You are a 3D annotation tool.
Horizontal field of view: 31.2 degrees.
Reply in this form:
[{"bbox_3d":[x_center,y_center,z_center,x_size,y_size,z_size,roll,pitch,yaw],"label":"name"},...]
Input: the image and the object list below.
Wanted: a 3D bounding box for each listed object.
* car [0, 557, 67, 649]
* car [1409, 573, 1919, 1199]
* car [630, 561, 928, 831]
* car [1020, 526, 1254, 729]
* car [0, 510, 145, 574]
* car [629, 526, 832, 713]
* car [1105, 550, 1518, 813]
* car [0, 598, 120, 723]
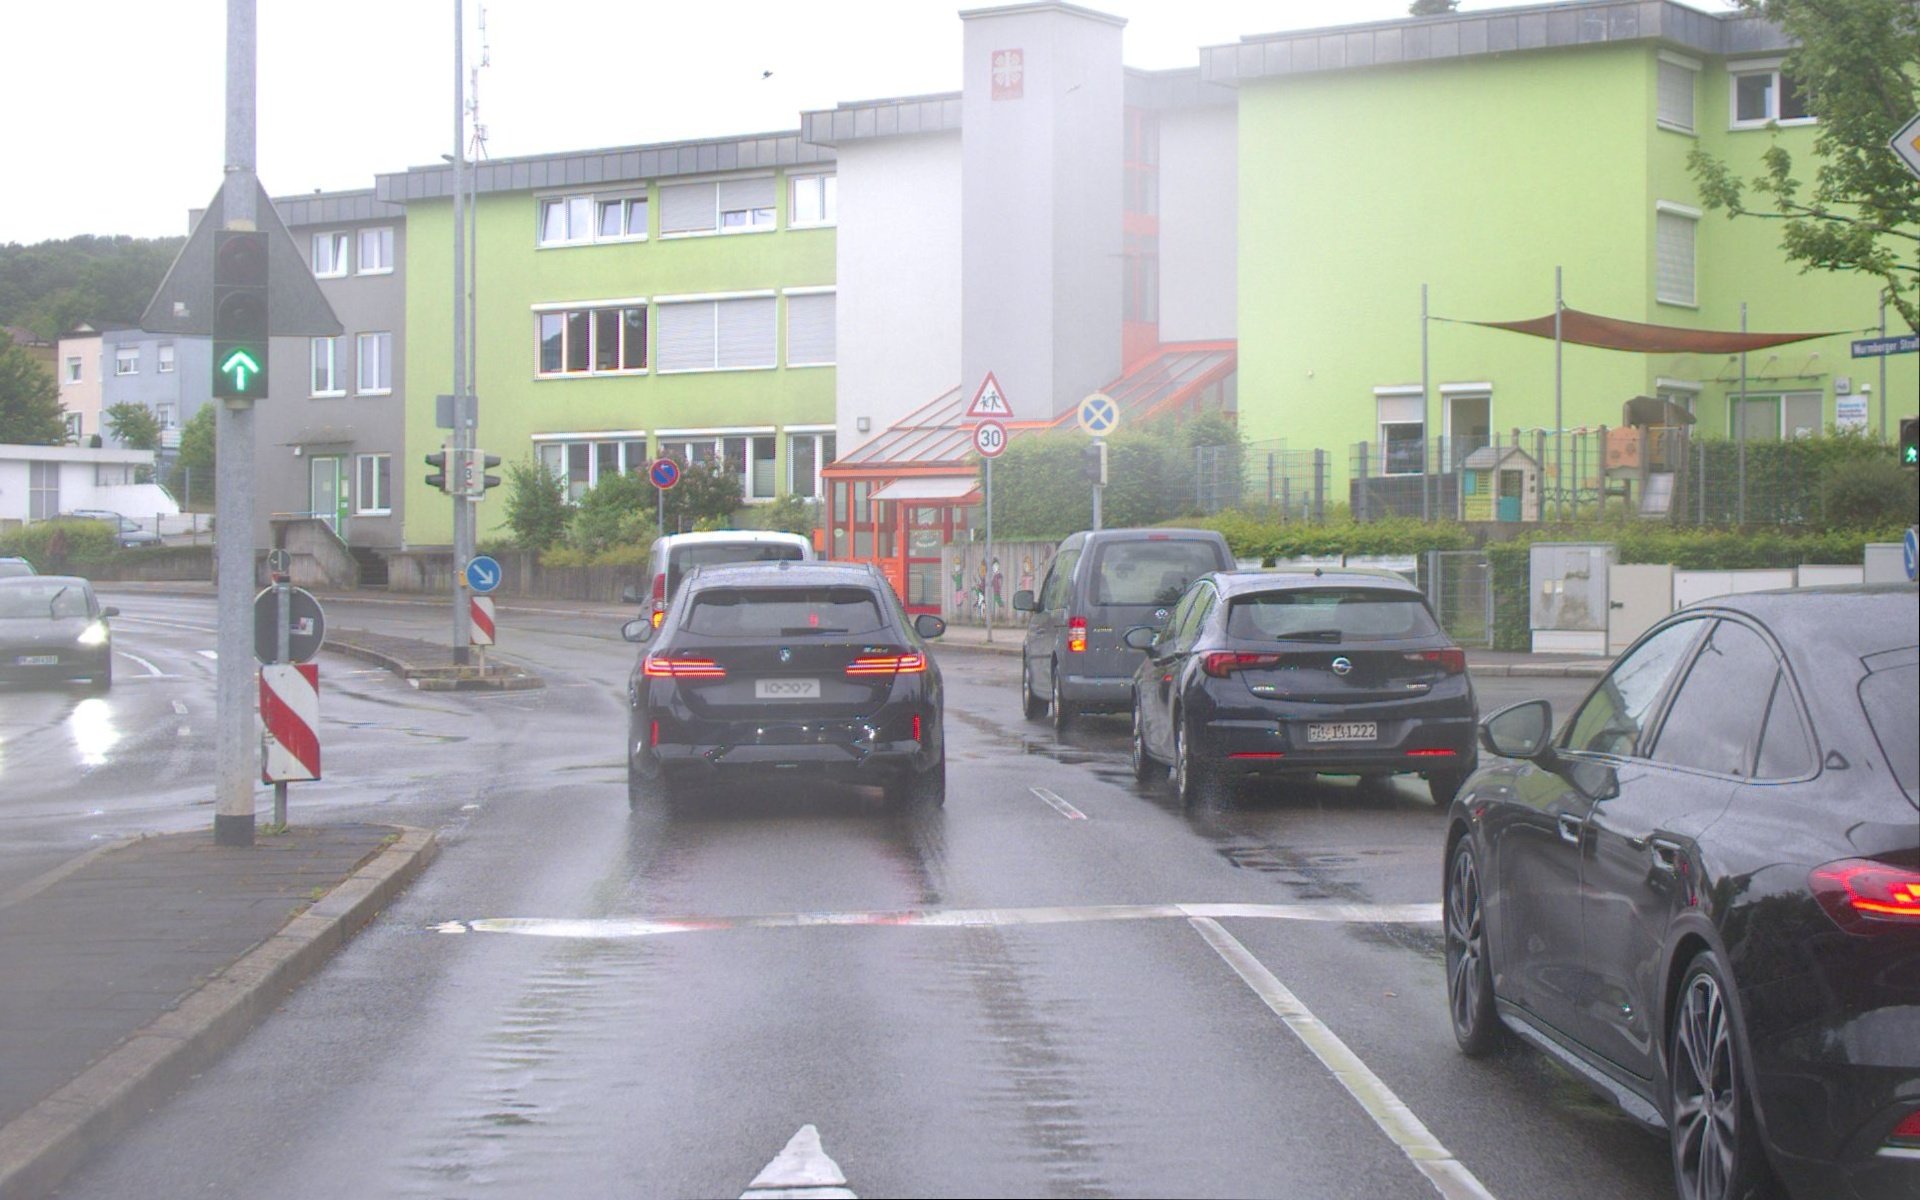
[{"bbox_3d":[-16.915,0.024,60.857,1.849,1.559,4.001,-1,1,-19],"label":"car"},{"bbox_3d":[2.323,0.668,8.475,1.706,1.422,4.509,0,1,-2],"label":"car"},{"bbox_3d":[-1.184,0.522,21.503,1.682,1.501,3.774,-1,1,-5],"label":"car"},{"bbox_3d":[1.573,0.193,31.833,1.783,1.728,4.087,-1,1,-2],"label":"car"},{"bbox_3d":[-27.264,-1.769,105.051,4.393,1.766,2.001,-2,1,-18],"label":"car"},{"bbox_3d":[-2.475,0.156,36.194,1.716,1.838,4.088,1,1,-9],"label":"car"},{"bbox_3d":[2.129,0.439,21.968,1.849,1.481,4.087,-1,1,-5],"label":"car"},{"bbox_3d":[-12.049,0.768,45.152,1.792,1.484,4.155,-2,1,-12],"label":"car"}]
